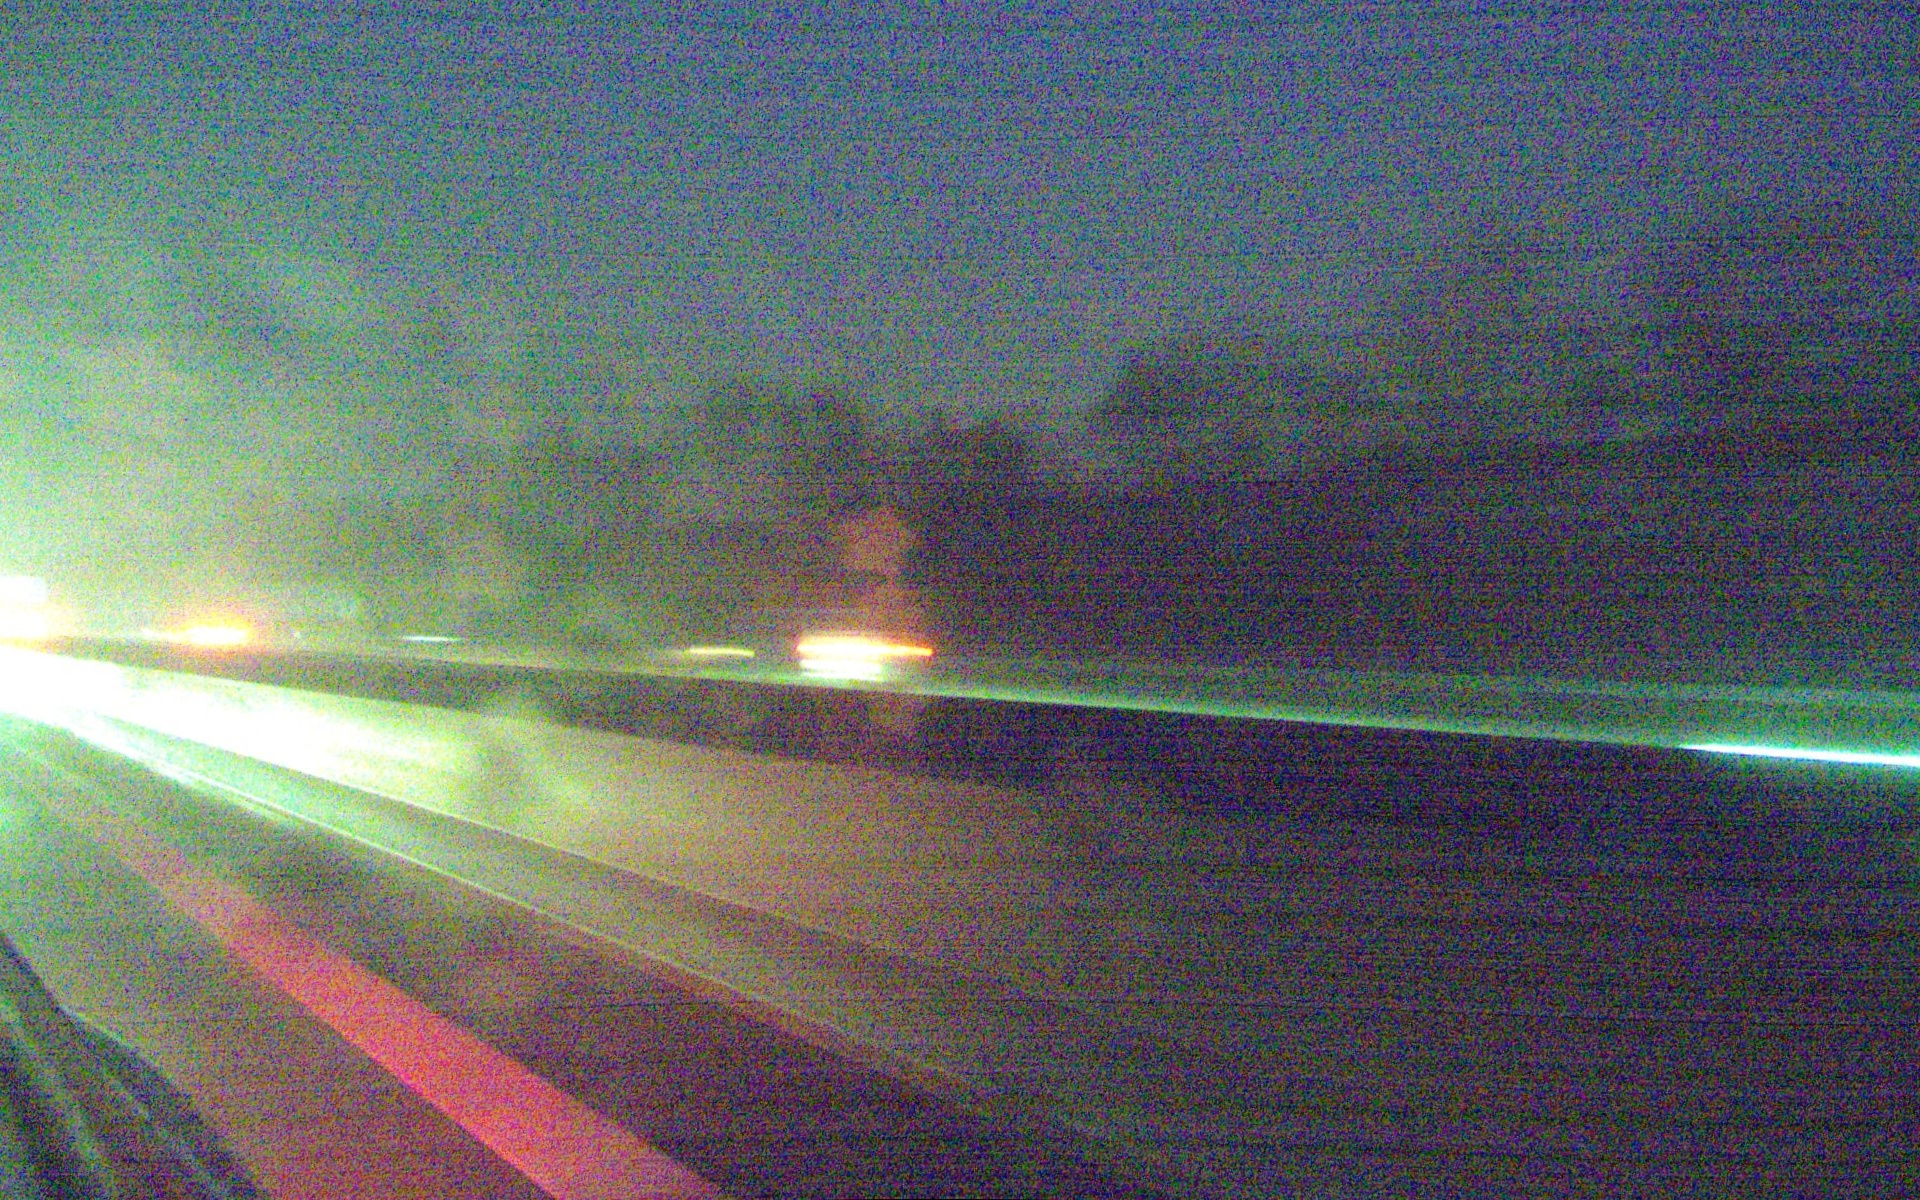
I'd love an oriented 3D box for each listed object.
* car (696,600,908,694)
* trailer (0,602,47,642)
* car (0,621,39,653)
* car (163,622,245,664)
[{"bbox_3d":[-3.878,1.073,24.260,5.354,2.029,1.974,-1,-2,39],"label":"car"},{"bbox_3d":[-108.739,2.540,116.887,14.855,4.299,2.943,-1,2,41],"label":"trailer"},{"bbox_3d":[-54.810,2.114,58.351,3.996,1.752,1.974,-1,1,40],"label":"car"},{"bbox_3d":[-35.055,1.966,46.871,5.233,1.752,1.973,-1,1,41],"label":"car"}]
